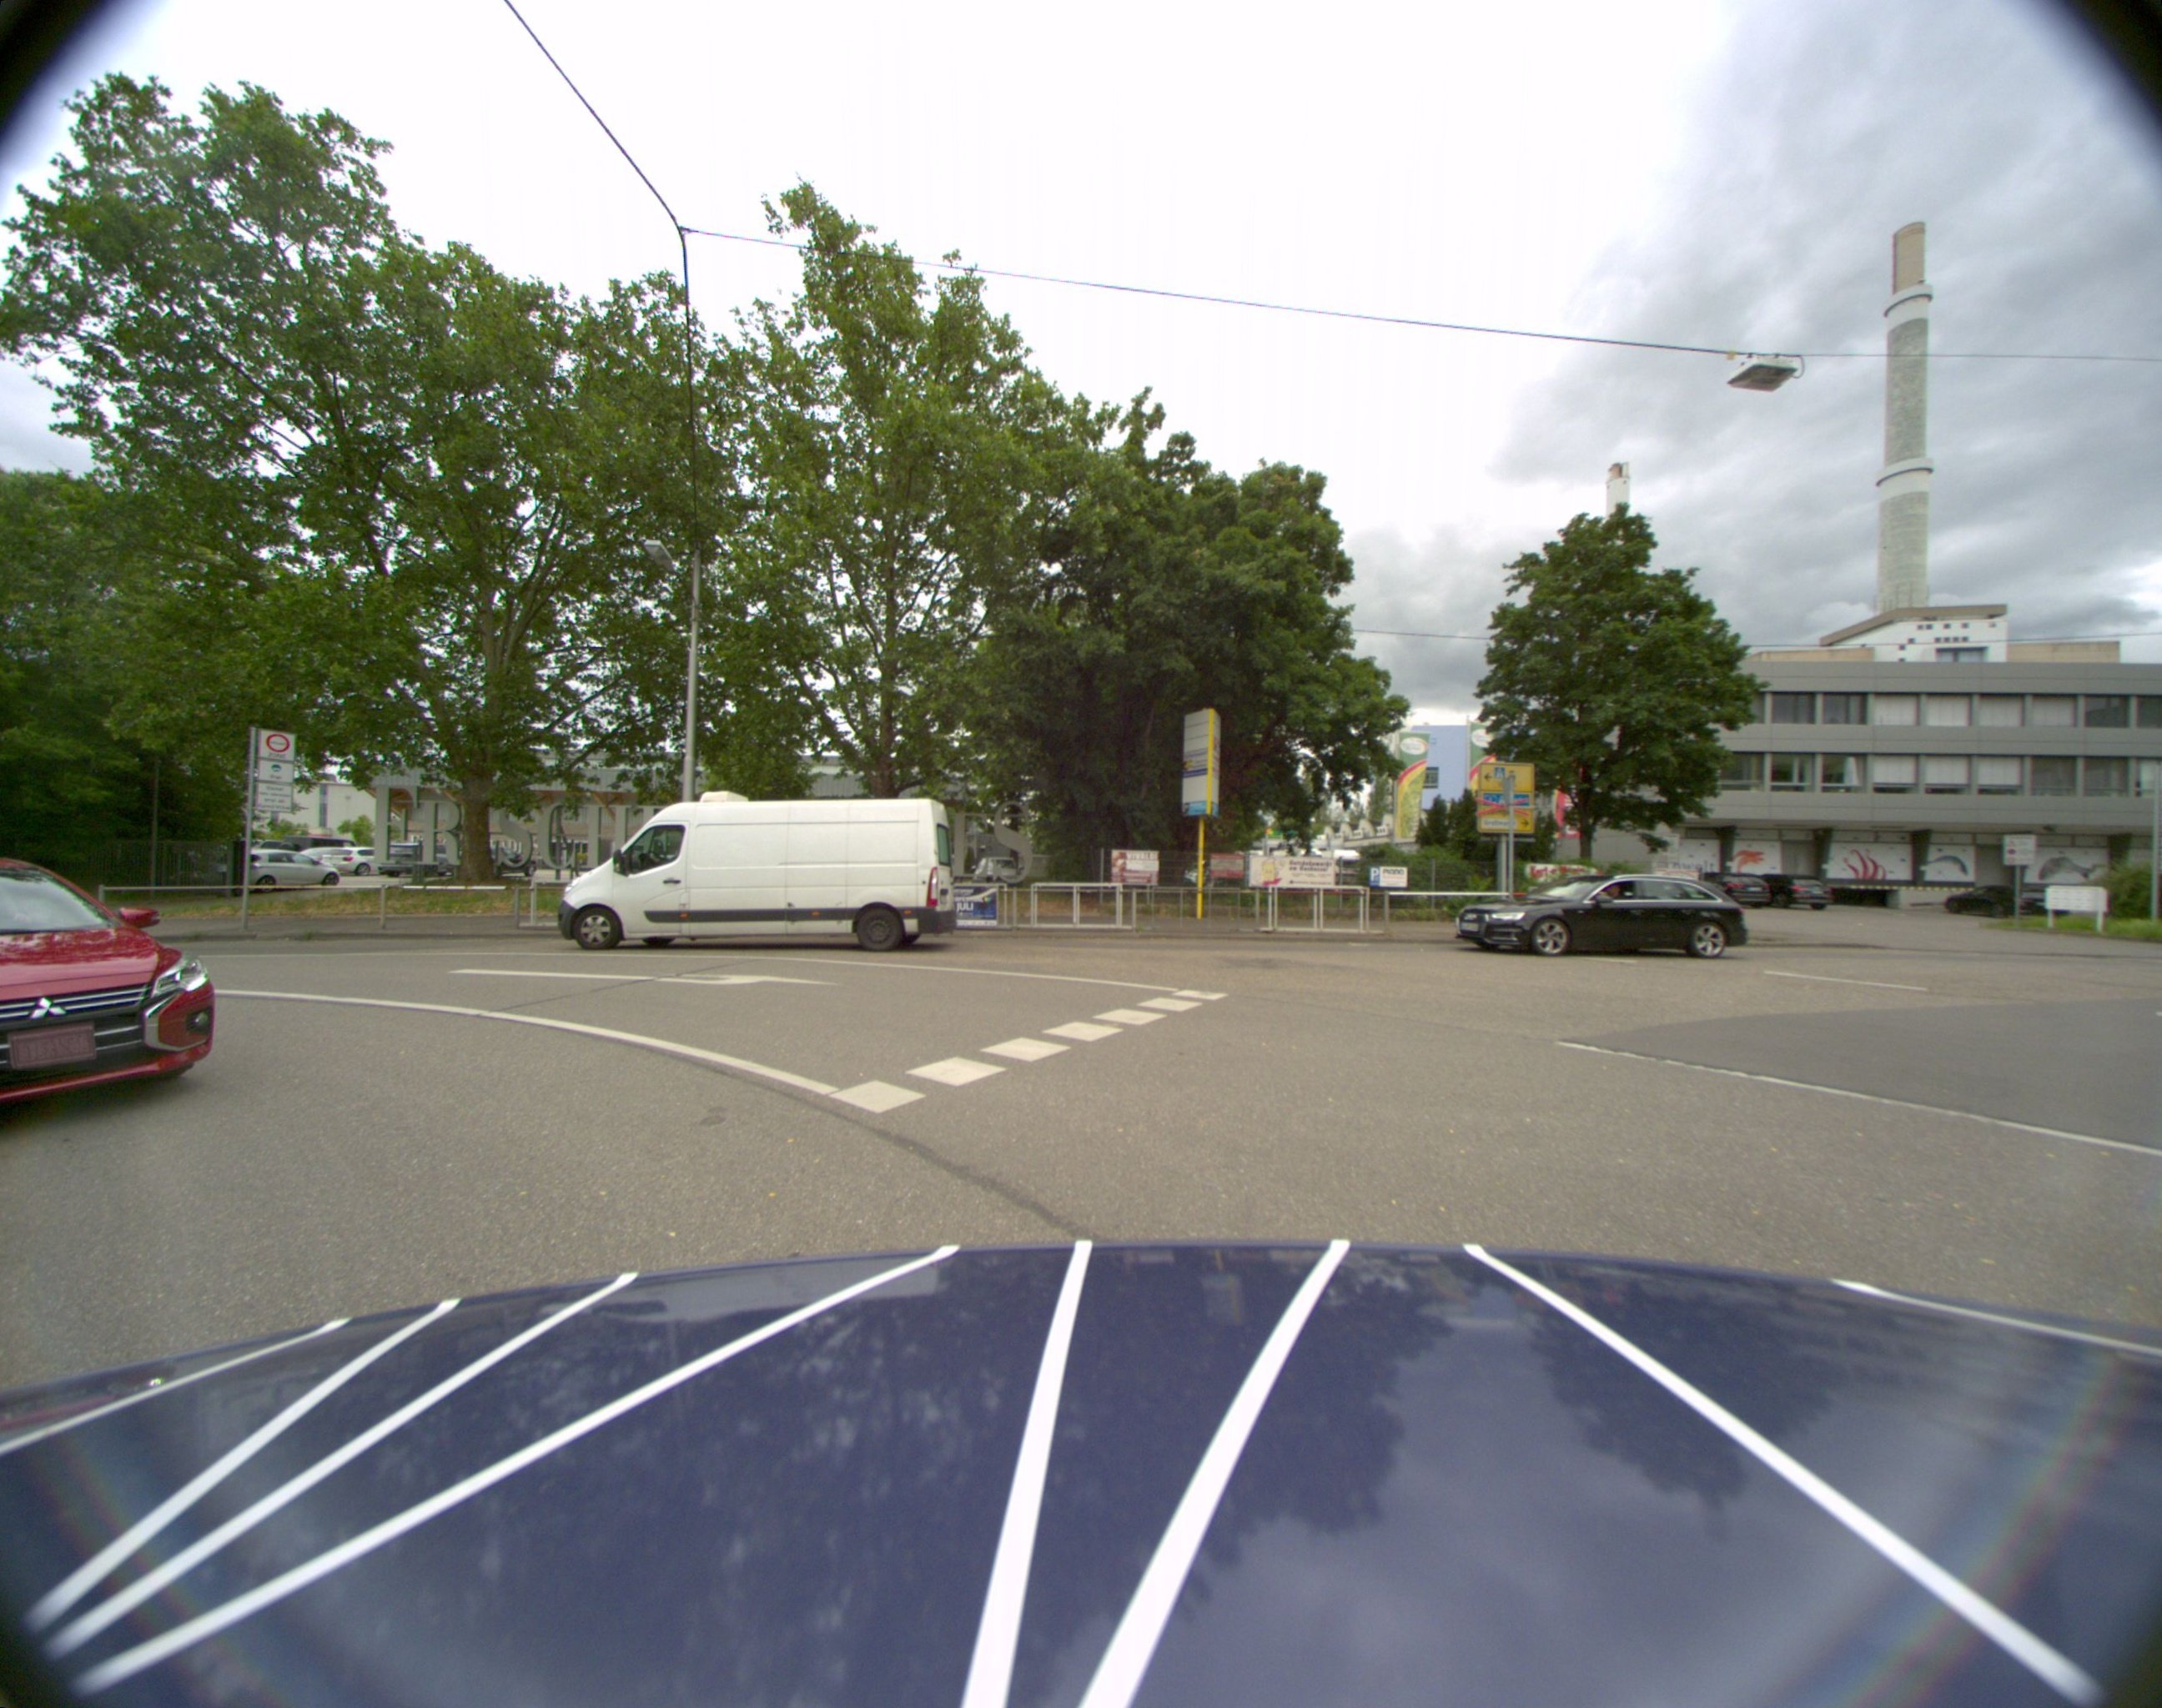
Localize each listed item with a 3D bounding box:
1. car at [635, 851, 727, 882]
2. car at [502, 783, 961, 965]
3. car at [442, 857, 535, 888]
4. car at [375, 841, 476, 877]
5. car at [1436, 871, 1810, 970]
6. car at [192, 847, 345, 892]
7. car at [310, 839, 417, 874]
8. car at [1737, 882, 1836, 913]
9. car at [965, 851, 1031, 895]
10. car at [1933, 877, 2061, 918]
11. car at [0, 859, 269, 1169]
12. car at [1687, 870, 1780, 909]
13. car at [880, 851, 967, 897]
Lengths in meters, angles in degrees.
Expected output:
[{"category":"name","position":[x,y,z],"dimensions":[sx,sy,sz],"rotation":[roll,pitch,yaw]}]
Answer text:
[{"category":"car","position":[-20.849,0.605,39.891],"dimensions":[1.937,1.423,5.251],"rotation":[-2,1,0]},{"category":"car","position":[-5.460,0.288,12.632],"dimensions":[6.479,2.527,2.192],"rotation":[-2,1,-1]},{"category":"car","position":[-30.475,0.934,39.240],"dimensions":[1.916,1.499,3.998],"rotation":[2,-1,-5]},{"category":"car","position":[-33.545,0.271,39.065],"dimensions":[1.916,1.690,3.998],"rotation":[2,-1,-5]},{"category":"car","position":[9.317,1.117,13.365],"dimensions":[5.219,1.449,1.999],"rotation":[2,0,-3]},{"category":"car","position":[-30.728,0.586,28.913],"dimensions":[1.916,1.566,3.770],"rotation":[2,-1,-5]},{"category":"car","position":[-36.949,0.152,39.271],"dimensions":[1.916,1.690,3.998],"rotation":[2,-1,-5]},{"category":"car","position":[34.289,2.095,37.070],"dimensions":[1.775,1.171,3.574],"rotation":[-2,1,7]},{"category":"car","position":[-3.084,0.657,29.137],"dimensions":[1.999,1.449,4.699],"rotation":[-2,1,-1]},{"category":"car","position":[41.965,1.953,34.954],"dimensions":[1.747,1.543,3.611],"rotation":[-2,1,6]},{"category":"car","position":[-7.100,0.799,4.437],"dimensions":[3.732,1.521,1.770],"rotation":[0,1,18]},{"category":"car","position":[31.781,1.687,37.133],"dimensions":[1.775,1.669,3.574],"rotation":[-2,1,7]},{"category":"car","position":[-5.806,0.691,28.679],"dimensions":[1.998,1.449,4.701],"rotation":[-2,1,4]}]
